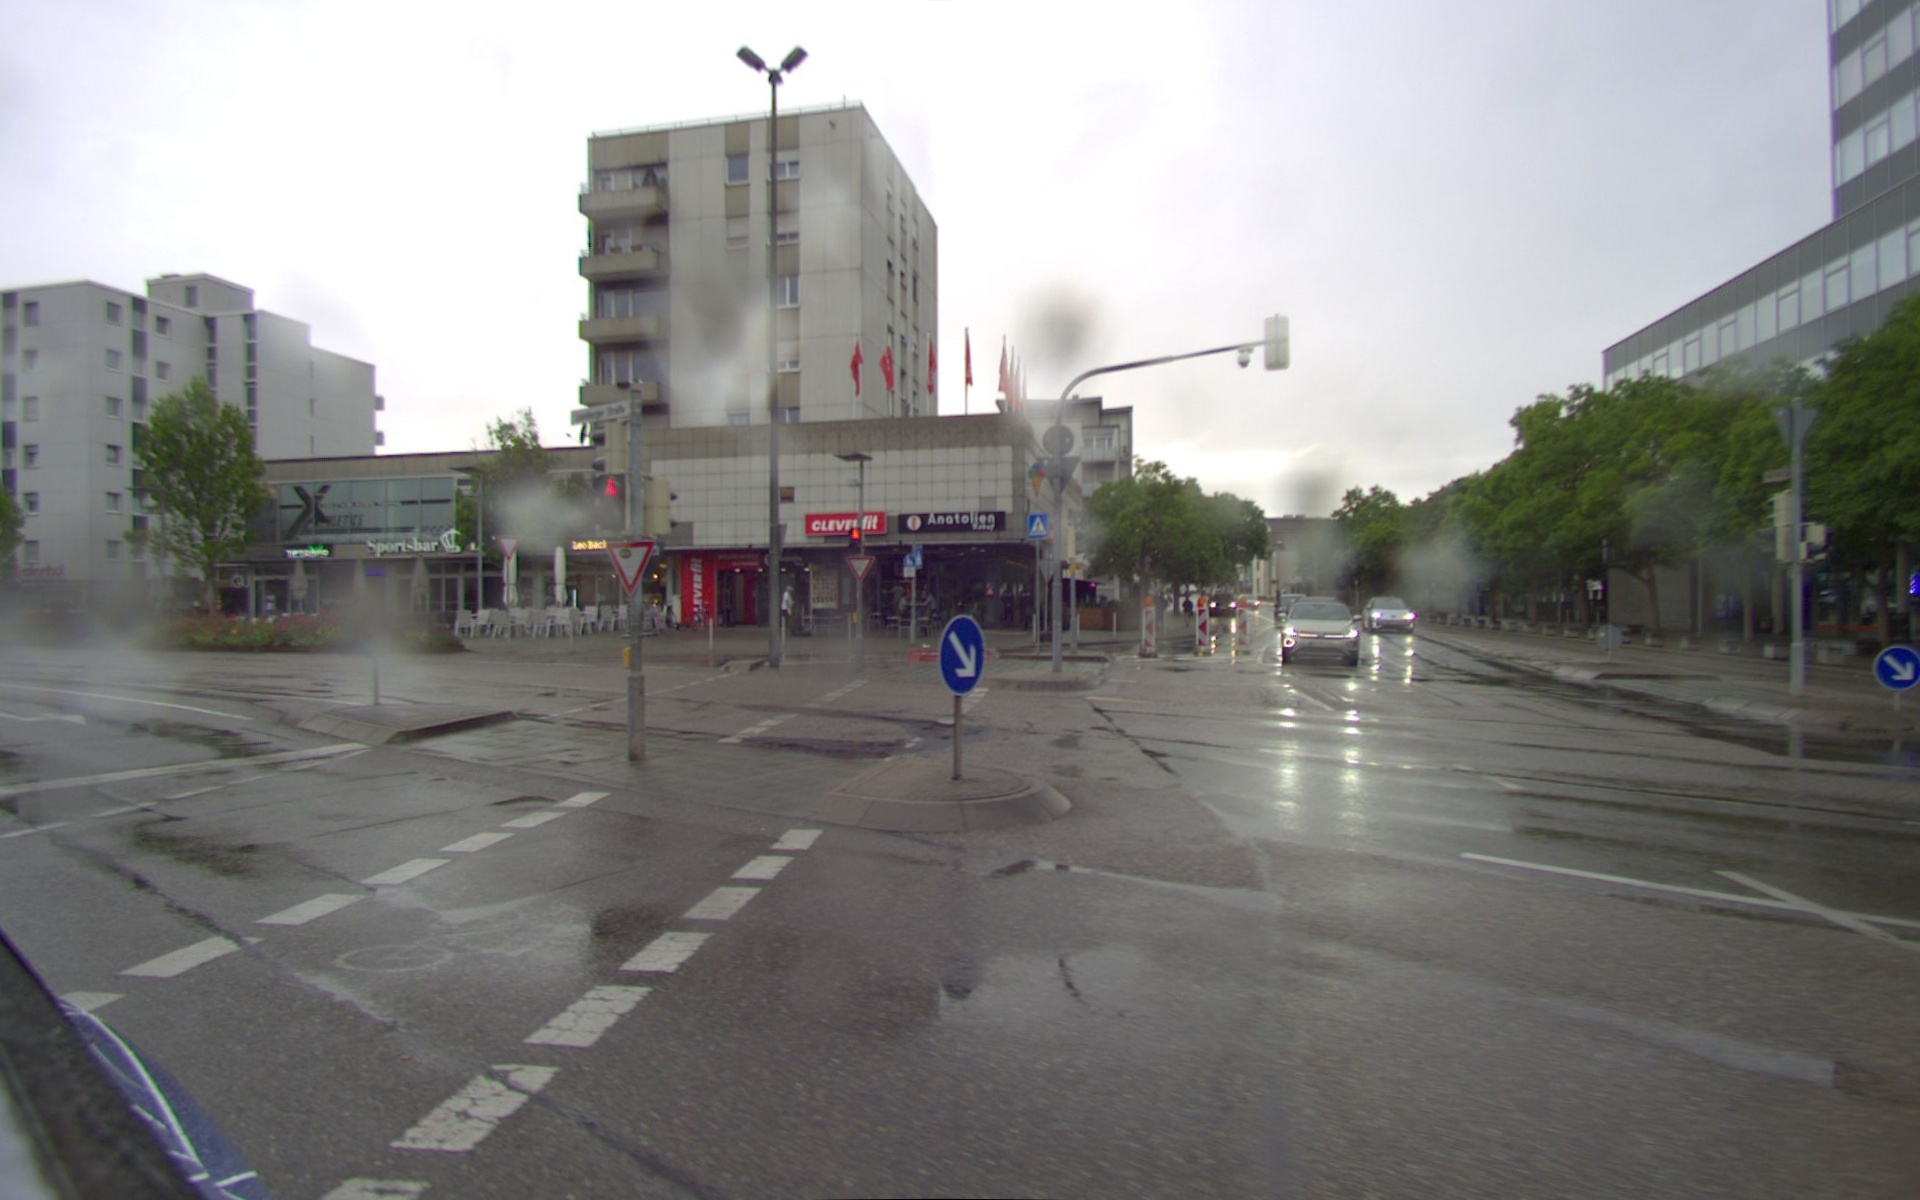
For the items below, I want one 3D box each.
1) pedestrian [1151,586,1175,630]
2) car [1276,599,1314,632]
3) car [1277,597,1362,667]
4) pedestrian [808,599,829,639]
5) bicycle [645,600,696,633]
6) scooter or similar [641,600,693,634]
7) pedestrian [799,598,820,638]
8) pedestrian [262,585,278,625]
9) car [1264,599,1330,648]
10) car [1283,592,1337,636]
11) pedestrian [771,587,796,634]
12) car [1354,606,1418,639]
[{"bbox_3d":[8.843,0.344,44.102,0.805,1.908,0.712,-1,-1,30],"label":"pedestrian"},{"bbox_3d":[17.084,0.762,51.719,1.701,1.607,3.978,-1,0,17],"label":"car"},{"bbox_3d":[8.968,0.748,25.471,1.855,1.607,4.181,0,0,18],"label":"car"},{"bbox_3d":[-4.806,0.639,34.409,0.490,1.358,0.538,-1,0,-42],"label":"pedestrian"},{"bbox_3d":[-11.263,0.611,39.532,0.690,1.232,2.541,-1,0,15],"label":"bicycle"},{"bbox_3d":[-10.840,0.609,37.517,0.637,1.183,2.581,-1,0,14],"label":"scooter or similar"},{"bbox_3d":[-5.185,0.630,34.888,0.490,1.358,0.537,-1,1,-44],"label":"pedestrian"},{"bbox_3d":[-32.501,0.232,47.658,0.498,1.862,0.424,-1,0,23],"label":"pedestrian"},{"bbox_3d":[10.668,0.689,32.149,1.855,1.431,4.035,1,0,18],"label":"car"},{"bbox_3d":[13.552,0.525,39.393,1.855,1.607,3.977,-1,0,18],"label":"car"},{"bbox_3d":[-6.641,0.390,37.989,0.703,1.706,0.659,-1,0,-32],"label":"pedestrian"},{"bbox_3d":[18.913,0.991,45.073,1.753,1.431,4.046,0,-1,10],"label":"car"}]
